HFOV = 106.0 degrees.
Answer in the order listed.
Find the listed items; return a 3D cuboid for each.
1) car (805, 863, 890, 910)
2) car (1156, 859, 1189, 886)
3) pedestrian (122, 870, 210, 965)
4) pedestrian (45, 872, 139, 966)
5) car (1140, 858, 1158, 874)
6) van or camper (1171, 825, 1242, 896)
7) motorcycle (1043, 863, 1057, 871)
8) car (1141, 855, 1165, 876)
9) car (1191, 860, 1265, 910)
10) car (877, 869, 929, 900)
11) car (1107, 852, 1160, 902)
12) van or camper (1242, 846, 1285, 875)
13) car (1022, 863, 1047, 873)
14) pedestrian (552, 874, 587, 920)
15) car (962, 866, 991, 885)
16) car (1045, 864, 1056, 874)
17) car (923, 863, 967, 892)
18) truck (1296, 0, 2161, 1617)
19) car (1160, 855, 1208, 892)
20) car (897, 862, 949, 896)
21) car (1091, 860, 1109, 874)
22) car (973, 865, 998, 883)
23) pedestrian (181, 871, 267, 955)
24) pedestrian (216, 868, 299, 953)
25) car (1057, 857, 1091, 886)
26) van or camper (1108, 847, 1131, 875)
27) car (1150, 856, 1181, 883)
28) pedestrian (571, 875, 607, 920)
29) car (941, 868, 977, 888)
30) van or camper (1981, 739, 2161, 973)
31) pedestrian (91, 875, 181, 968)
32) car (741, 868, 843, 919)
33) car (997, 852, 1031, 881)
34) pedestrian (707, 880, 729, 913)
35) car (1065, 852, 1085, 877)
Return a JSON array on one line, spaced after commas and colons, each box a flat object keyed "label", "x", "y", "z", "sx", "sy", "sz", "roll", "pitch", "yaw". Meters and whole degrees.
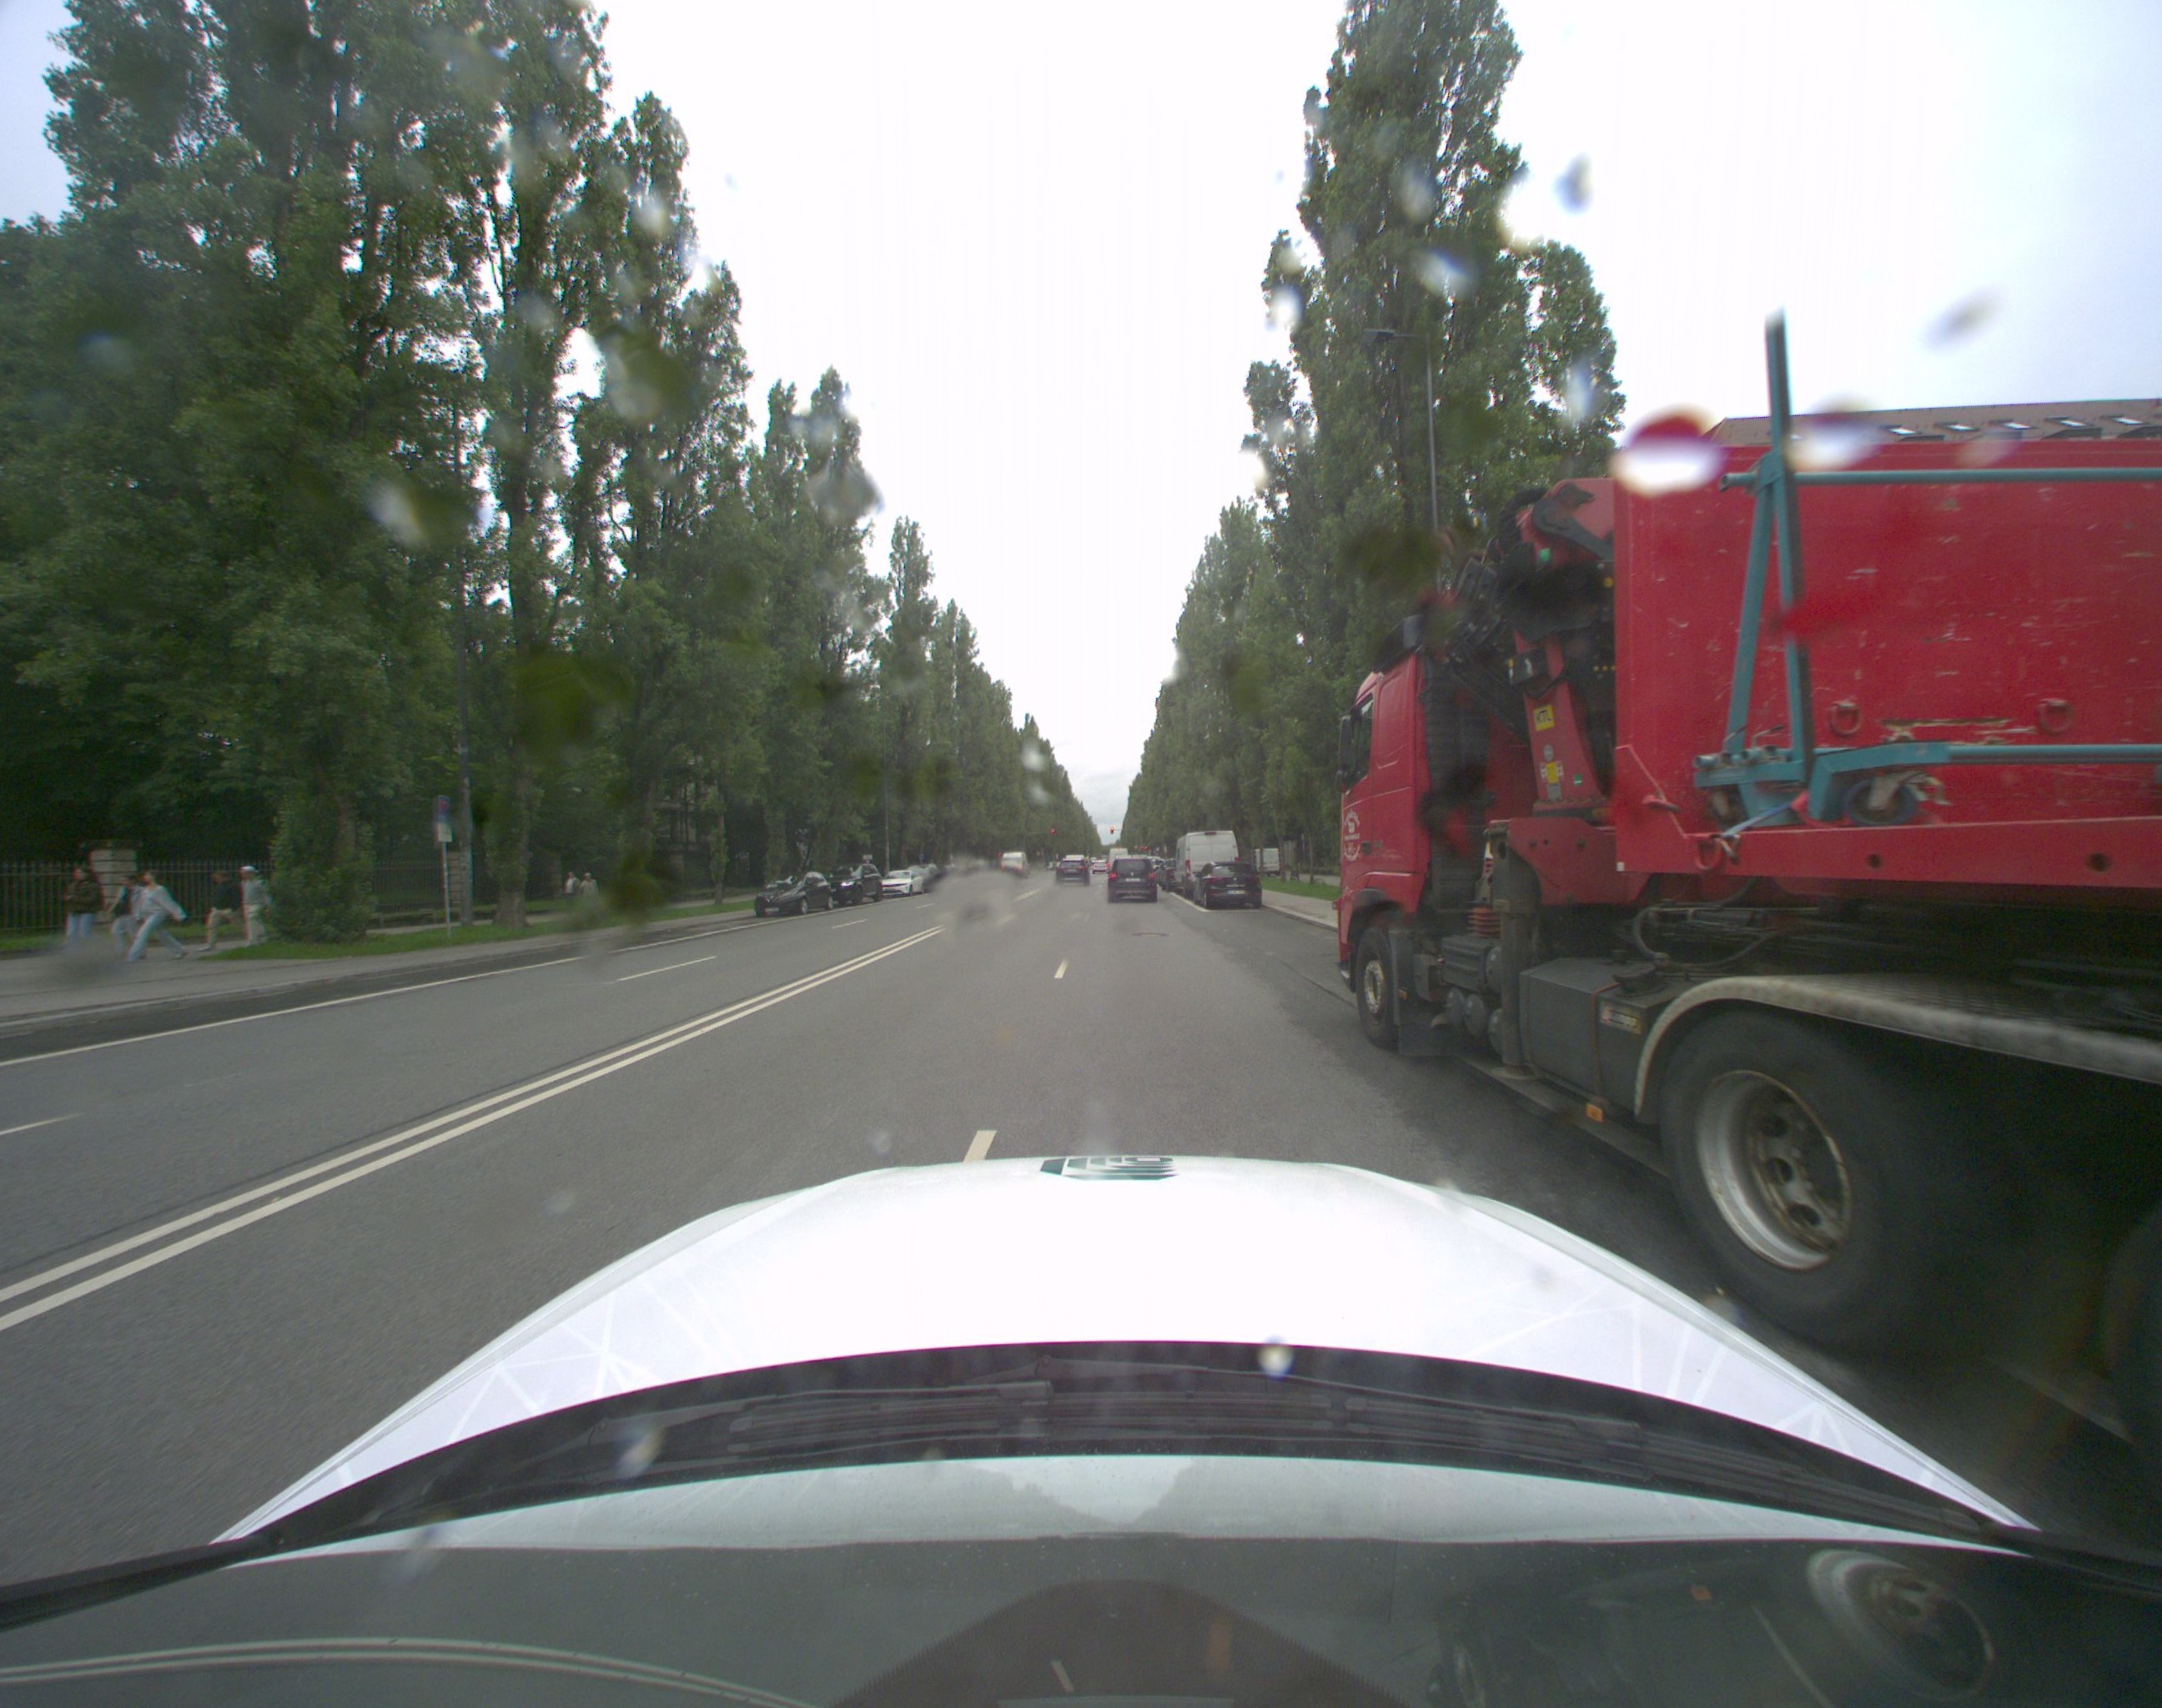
[{"label": "car", "x": -10.222, "y": 1.383, "z": 36.095, "sx": 2.038, "sy": 1.786, "sz": 4.803, "roll": -4, "pitch": -1, "yaw": 3}, {"label": "car", "x": 5.531, "y": 1.086, "z": 49.702, "sx": 1.696, "sy": 1.520, "sz": 4.297, "roll": -2, "pitch": 0, "yaw": 2}, {"label": "pedestrian", "x": -17.660, "y": 1.200, "z": 15.742, "sx": 0.627, "sy": 1.747, "sz": 0.908, "roll": -2, "pitch": -1, "yaw": 2}, {"label": "pedestrian", "x": -19.062, "y": 1.235, "z": 15.722, "sx": 0.657, "sy": 1.716, "sz": 0.911, "roll": -2, "pitch": -1, "yaw": 2}, {"label": "car", "x": 6.987, "y": 1.203, "z": 84.101, "sx": 1.734, "sy": 1.593, "sz": 4.214, "roll": -2, "pitch": 0, "yaw": 3}, {"label": "van or camper", "x": 4.959, "y": 0.273, "z": 33.117, "sx": 2.130, "sy": 2.540, "sz": 6.421, "roll": -2, "pitch": -1, "yaw": 3}, {"label": "motorcycle", "x": -5.263, "y": 2.207, "z": 138.563, "sx": 2.354, "sy": 1.269, "sz": 0.931, "roll": -1, "pitch": -1, "yaw": 2}, {"label": "car", "x": 6.768, "y": 1.080, "z": 76.892, "sx": 1.845, "sy": 1.881, "sz": 4.168, "roll": -2, "pitch": 0, "yaw": 0}, {"label": "car", "x": 4.578, "y": 0.921, "z": 25.928, "sx": 1.670, "sy": 1.420, "sz": 4.001, "roll": -2, "pitch": -1, "yaw": 1}, {"label": "car", "x": -9.717, "y": 1.617, "z": 44.739, "sx": 1.697, "sy": 1.459, "sz": 4.275, "roll": -4, "pitch": -1, "yaw": 2}, {"label": "car", "x": 1.924, "y": 0.816, "z": 30.429, "sx": 1.848, "sy": 1.770, "sz": 4.003, "roll": 0, "pitch": 0, "yaw": 3}, {"label": "van or camper", "x": 12.754, "y": 0.442, "z": 57.102, "sx": 2.068, "sy": 1.933, "sz": 5.372, "roll": -1, "pitch": 0, "yaw": 3}, {"label": "car", "x": -7.251, "y": 2.201, "z": 126.483, "sx": 1.691, "sy": 1.366, "sz": 3.846, "roll": -2, "pitch": -1, "yaw": 40}, {"label": "pedestrian", "x": -18.420, "y": 1.546, "z": 29.332, "sx": 0.715, "sy": 1.605, "sz": 0.813, "roll": -2, "pitch": -1, "yaw": 1}, {"label": "car", "x": -8.975, "y": 1.813, "z": 70.176, "sx": 1.764, "sy": 1.452, "sz": 4.234, "roll": -4, "pitch": -1, "yaw": 1}, {"label": "car", "x": -5.468, "y": 2.684, "z": 147.332, "sx": 1.681, "sy": 1.783, "sz": 3.777, "roll": -2, "pitch": 0, "yaw": 3}, {"label": "car", "x": -9.293, "y": 1.544, "z": 55.987, "sx": 1.934, "sy": 1.767, "sz": 4.896, "roll": -4, "pitch": -1, "yaw": 1}, {"label": "truck", "x": 3.402, "y": -0.408, "z": 2.820, "sx": 2.834, "sy": 3.564, "sz": 10.282, "roll": -1, "pitch": 0, "yaw": 2}, {"label": "car", "x": 4.926, "y": 0.911, "z": 39.570, "sx": 1.779, "sy": 1.648, "sz": 4.417, "roll": -2, "pitch": 0, "yaw": 0}, {"label": "car", "x": -9.631, "y": 1.482, "z": 50.124, "sx": 1.902, "sy": 1.789, "sz": 5.182, "roll": -4, "pitch": -1, "yaw": 2}, {"label": "car", "x": 2.141, "y": 1.428, "z": 90.612, "sx": 1.986, "sy": 1.561, "sz": 4.001, "roll": -2, "pitch": 0, "yaw": 2}, {"label": "car", "x": -8.695, "y": 1.809, "z": 74.412, "sx": 1.703, "sy": 1.451, "sz": 3.586, "roll": -4, "pitch": -1, "yaw": 1}, {"label": "pedestrian", "x": -18.995, "y": 1.280, "z": 18.074, "sx": 0.707, "sy": 1.772, "sz": 1.093, "roll": 0, "pitch": -1, "yaw": 2}, {"label": "pedestrian", "x": -18.278, "y": 1.224, "z": 18.108, "sx": 0.707, "sy": 1.834, "sz": 1.093, "roll": 0, "pitch": -1, "yaw": 2}, {"label": "car", "x": -0.381, "y": 0.974, "z": 48.297, "sx": 1.774, "sy": 1.620, "sz": 4.027, "roll": 0, "pitch": 0, "yaw": 3}, {"label": "van or camper", "x": 3.566, "y": 0.667, "z": 76.722, "sx": 1.968, "sy": 2.548, "sz": 4.025, "roll": -2, "pitch": 0, "yaw": 1}, {"label": "car", "x": 5.625, "y": 0.982, "z": 54.637, "sx": 1.736, "sy": 1.675, "sz": 4.582, "roll": -2, "pitch": 0, "yaw": 2}, {"label": "pedestrian", "x": -17.677, "y": 1.555, "z": 29.293, "sx": 0.715, "sy": 1.548, "sz": 0.876, "roll": -2, "pitch": -1, "yaw": 1}, {"label": "car", "x": -9.151, "y": 1.791, "z": 61.515, "sx": 1.819, "sy": 1.334, "sz": 4.235, "roll": -4, "pitch": -1, "yaw": 2}, {"label": "van or camper", "x": 10.290, "y": 0.003, "z": 5.933, "sx": 1.996, "sy": 2.014, "sz": 4.987, "roll": -1, "pitch": 0, "yaw": 1}, {"label": "pedestrian", "x": -18.354, "y": 1.288, "z": 15.837, "sx": 0.685, "sy": 1.700, "sz": 0.886, "roll": -2, "pitch": -1, "yaw": 2}, {"label": "car", "x": -10.607, "y": 1.411, "z": 30.250, "sx": 1.936, "sy": 1.583, "sz": 4.392, "roll": -4, "pitch": -1, "yaw": 3}, {"label": "car", "x": -6.185, "y": 1.160, "z": 75.926, "sx": 2.219, "sy": 2.483, "sz": 6.760, "roll": -4, "pitch": -1, "yaw": 2}, {"label": "pedestrian", "x": -19.618, "y": 2.274, "z": 43.994, "sx": 0.663, "sy": 1.741, "sz": 0.958, "roll": -2, "pitch": -1, "yaw": 3}, {"label": "car", "x": -0.514, "y": 0.977, "z": 73.347, "sx": 1.776, "sy": 2.112, "sz": 4.023, "roll": 0, "pitch": -2, "yaw": -1}]
